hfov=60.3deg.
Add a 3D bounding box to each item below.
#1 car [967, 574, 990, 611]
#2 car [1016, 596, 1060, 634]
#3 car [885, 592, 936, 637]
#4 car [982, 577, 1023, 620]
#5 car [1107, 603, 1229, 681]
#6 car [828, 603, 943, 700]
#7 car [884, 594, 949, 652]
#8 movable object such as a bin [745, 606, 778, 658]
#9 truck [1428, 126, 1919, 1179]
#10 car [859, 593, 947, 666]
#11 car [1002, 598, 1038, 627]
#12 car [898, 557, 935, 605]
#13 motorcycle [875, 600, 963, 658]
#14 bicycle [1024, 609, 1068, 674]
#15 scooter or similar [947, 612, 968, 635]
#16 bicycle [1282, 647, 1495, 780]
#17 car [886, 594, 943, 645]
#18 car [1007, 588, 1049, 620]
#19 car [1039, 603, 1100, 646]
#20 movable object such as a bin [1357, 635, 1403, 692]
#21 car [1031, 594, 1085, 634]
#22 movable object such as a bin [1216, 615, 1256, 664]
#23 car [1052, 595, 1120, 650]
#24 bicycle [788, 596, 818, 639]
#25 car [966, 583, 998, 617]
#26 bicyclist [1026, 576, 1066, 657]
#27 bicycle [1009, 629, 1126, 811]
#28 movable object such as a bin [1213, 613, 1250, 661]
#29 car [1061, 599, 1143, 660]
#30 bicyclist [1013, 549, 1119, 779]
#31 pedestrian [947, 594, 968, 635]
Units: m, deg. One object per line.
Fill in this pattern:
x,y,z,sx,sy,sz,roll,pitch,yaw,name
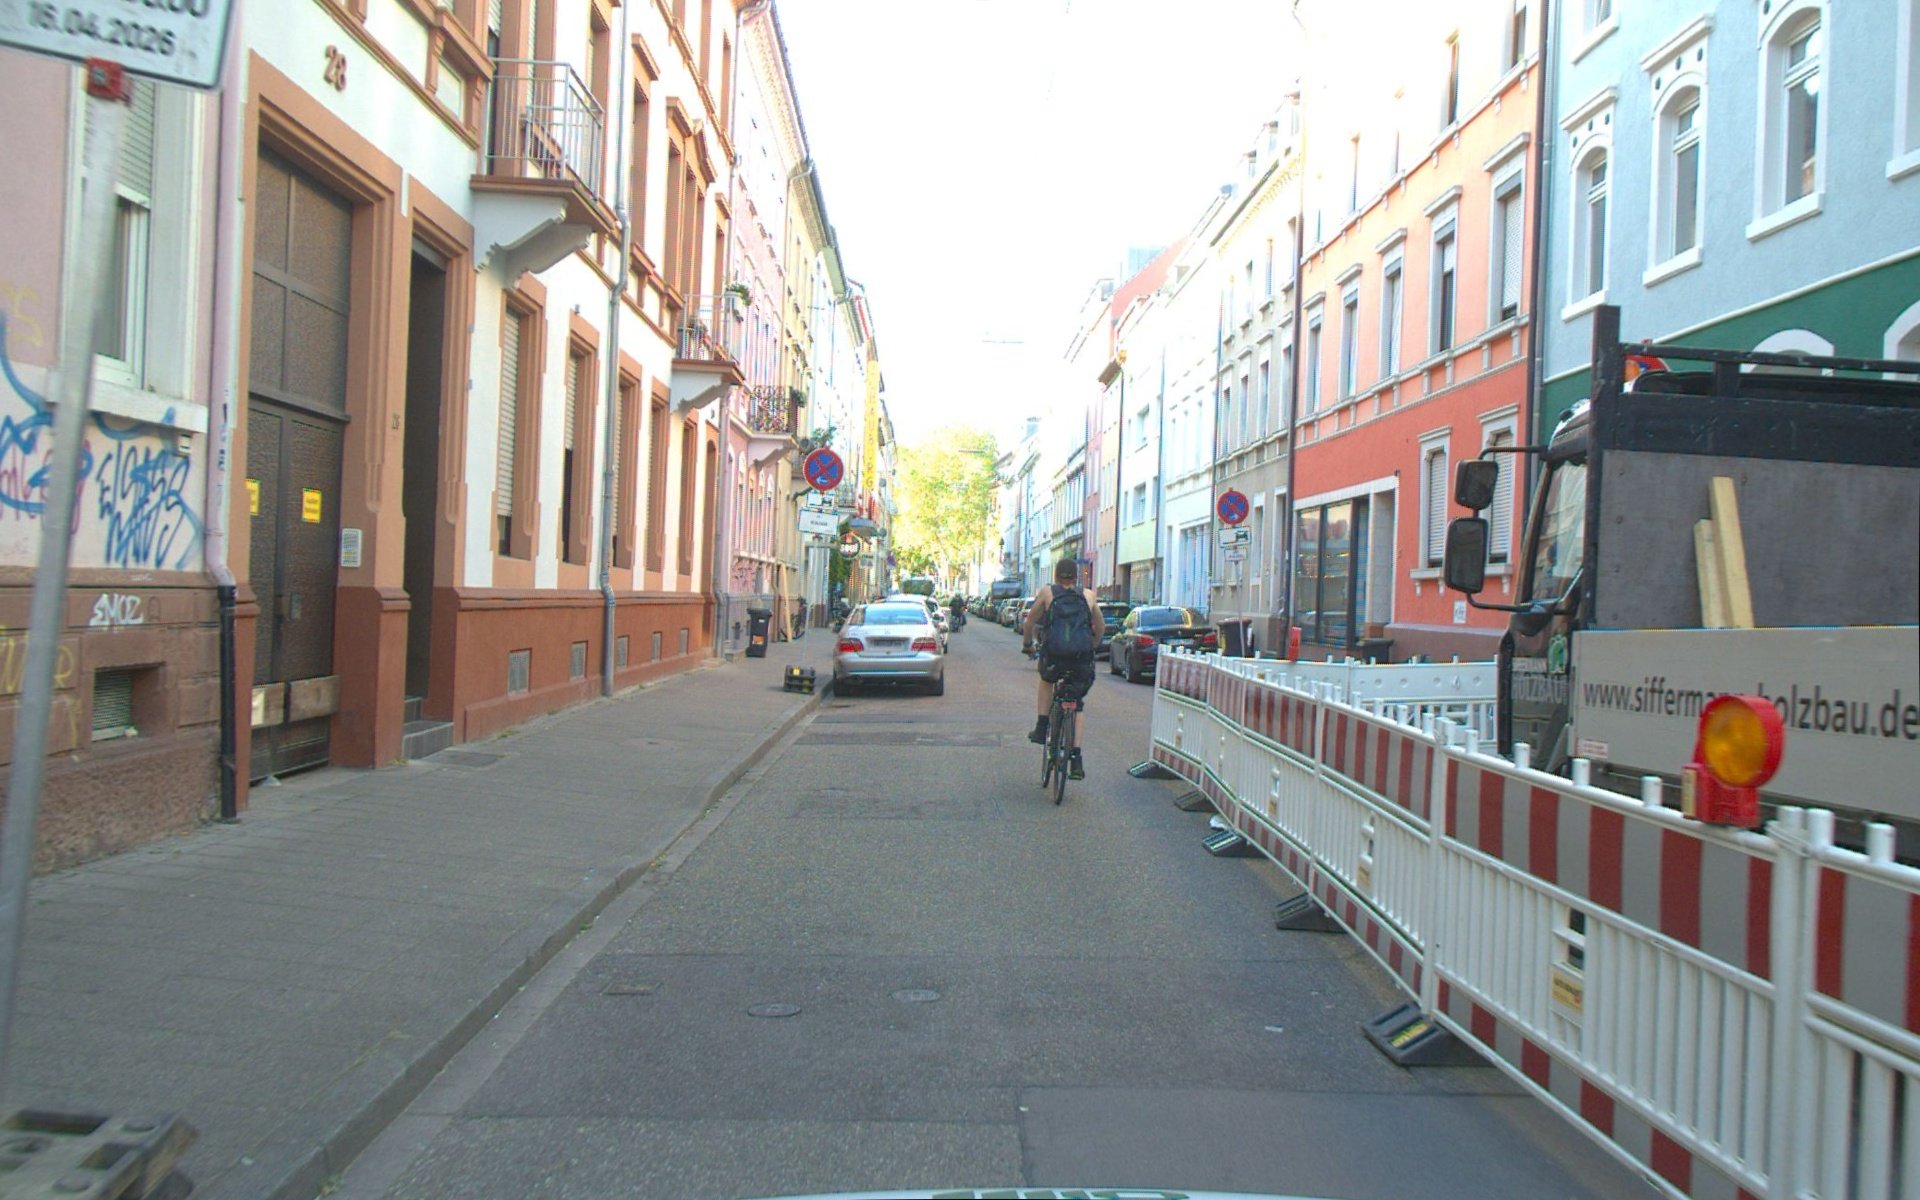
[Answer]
1.934,-0.740,175.446,2.261,3.834,6.767,0,0,-1,car
3.281,0.638,70.153,1.588,1.577,3.999,0,0,-1,car
-1.648,0.472,55.063,1.638,1.467,3.752,0,0,-1,car
2.601,-0.097,102.569,2.261,2.582,6.767,0,0,-1,car
4.157,0.804,33.681,1.780,1.463,4.789,0,0,-1,car
-1.142,0.762,26.468,1.676,1.407,4.504,0,0,-1,car
-1.138,0.579,43.663,1.638,1.467,4.164,0,0,-1,car
-3.847,0.616,32.056,0.532,0.961,0.487,3,-1,-1,movable object such as a bin
3.905,0.183,5.088,2.608,2.863,7.391,3,0,-1,truck
-1.213,0.615,36.807,1.675,1.407,4.356,2,1,1,car
3.114,0.644,86.893,1.676,1.473,3.999,0,0,-1,car
-2.429,-1.020,91.131,1.871,2.540,4.163,1,0,-3,car
-1.013,0.707,40.877,2.114,1.383,0.537,-1,1,-20,motorcycle
1.785,0.849,34.682,0.688,1.229,2.341,3,1,-2,bicycle
-0.098,0.941,67.027,0.755,0.888,0.770,3,-1,-3,scooter or similar
4.061,1.068,15.717,1.815,1.129,0.642,3,-1,-8,bicycle
-1.356,0.574,49.511,1.638,1.467,3.767,0,0,-1,car
3.073,0.195,75.616,1.676,1.418,3.999,0,0,-1,car
3.623,0.794,55.099,1.676,1.407,3.999,0,0,-1,car
6.956,1.048,27.422,0.585,0.922,0.579,-1,-1,-3,movable object such as a bin
3.548,0.513,60.553,1.676,1.407,3.999,0,0,-1,car
6.265,0.895,37.518,0.722,1.094,0.676,-1,0,-8,movable object such as a bin
3.740,0.647,49.641,1.676,1.583,3.999,0,0,-1,car
-4.280,0.473,45.198,0.580,1.108,2.078,3,0,-1,bicycle
1.644,-0.004,128.048,2.261,2.582,6.767,0,0,-1,car
1.795,0.340,34.610,0.688,1.633,0.812,2,1,-2,bicyclist
0.786,0.858,12.746,0.688,1.229,2.341,1,0,-1,bicycle
6.340,0.868,38.646,0.790,1.094,0.678,-1,0,3,movable object such as a bin
3.758,0.765,44.371,1.780,1.548,3.999,0,0,-1,car
0.790,0.468,12.562,0.688,1.662,1.090,1,0,-1,bicyclist
-0.103,0.592,67.494,0.755,1.606,0.900,3,-1,-3,pedestrian
